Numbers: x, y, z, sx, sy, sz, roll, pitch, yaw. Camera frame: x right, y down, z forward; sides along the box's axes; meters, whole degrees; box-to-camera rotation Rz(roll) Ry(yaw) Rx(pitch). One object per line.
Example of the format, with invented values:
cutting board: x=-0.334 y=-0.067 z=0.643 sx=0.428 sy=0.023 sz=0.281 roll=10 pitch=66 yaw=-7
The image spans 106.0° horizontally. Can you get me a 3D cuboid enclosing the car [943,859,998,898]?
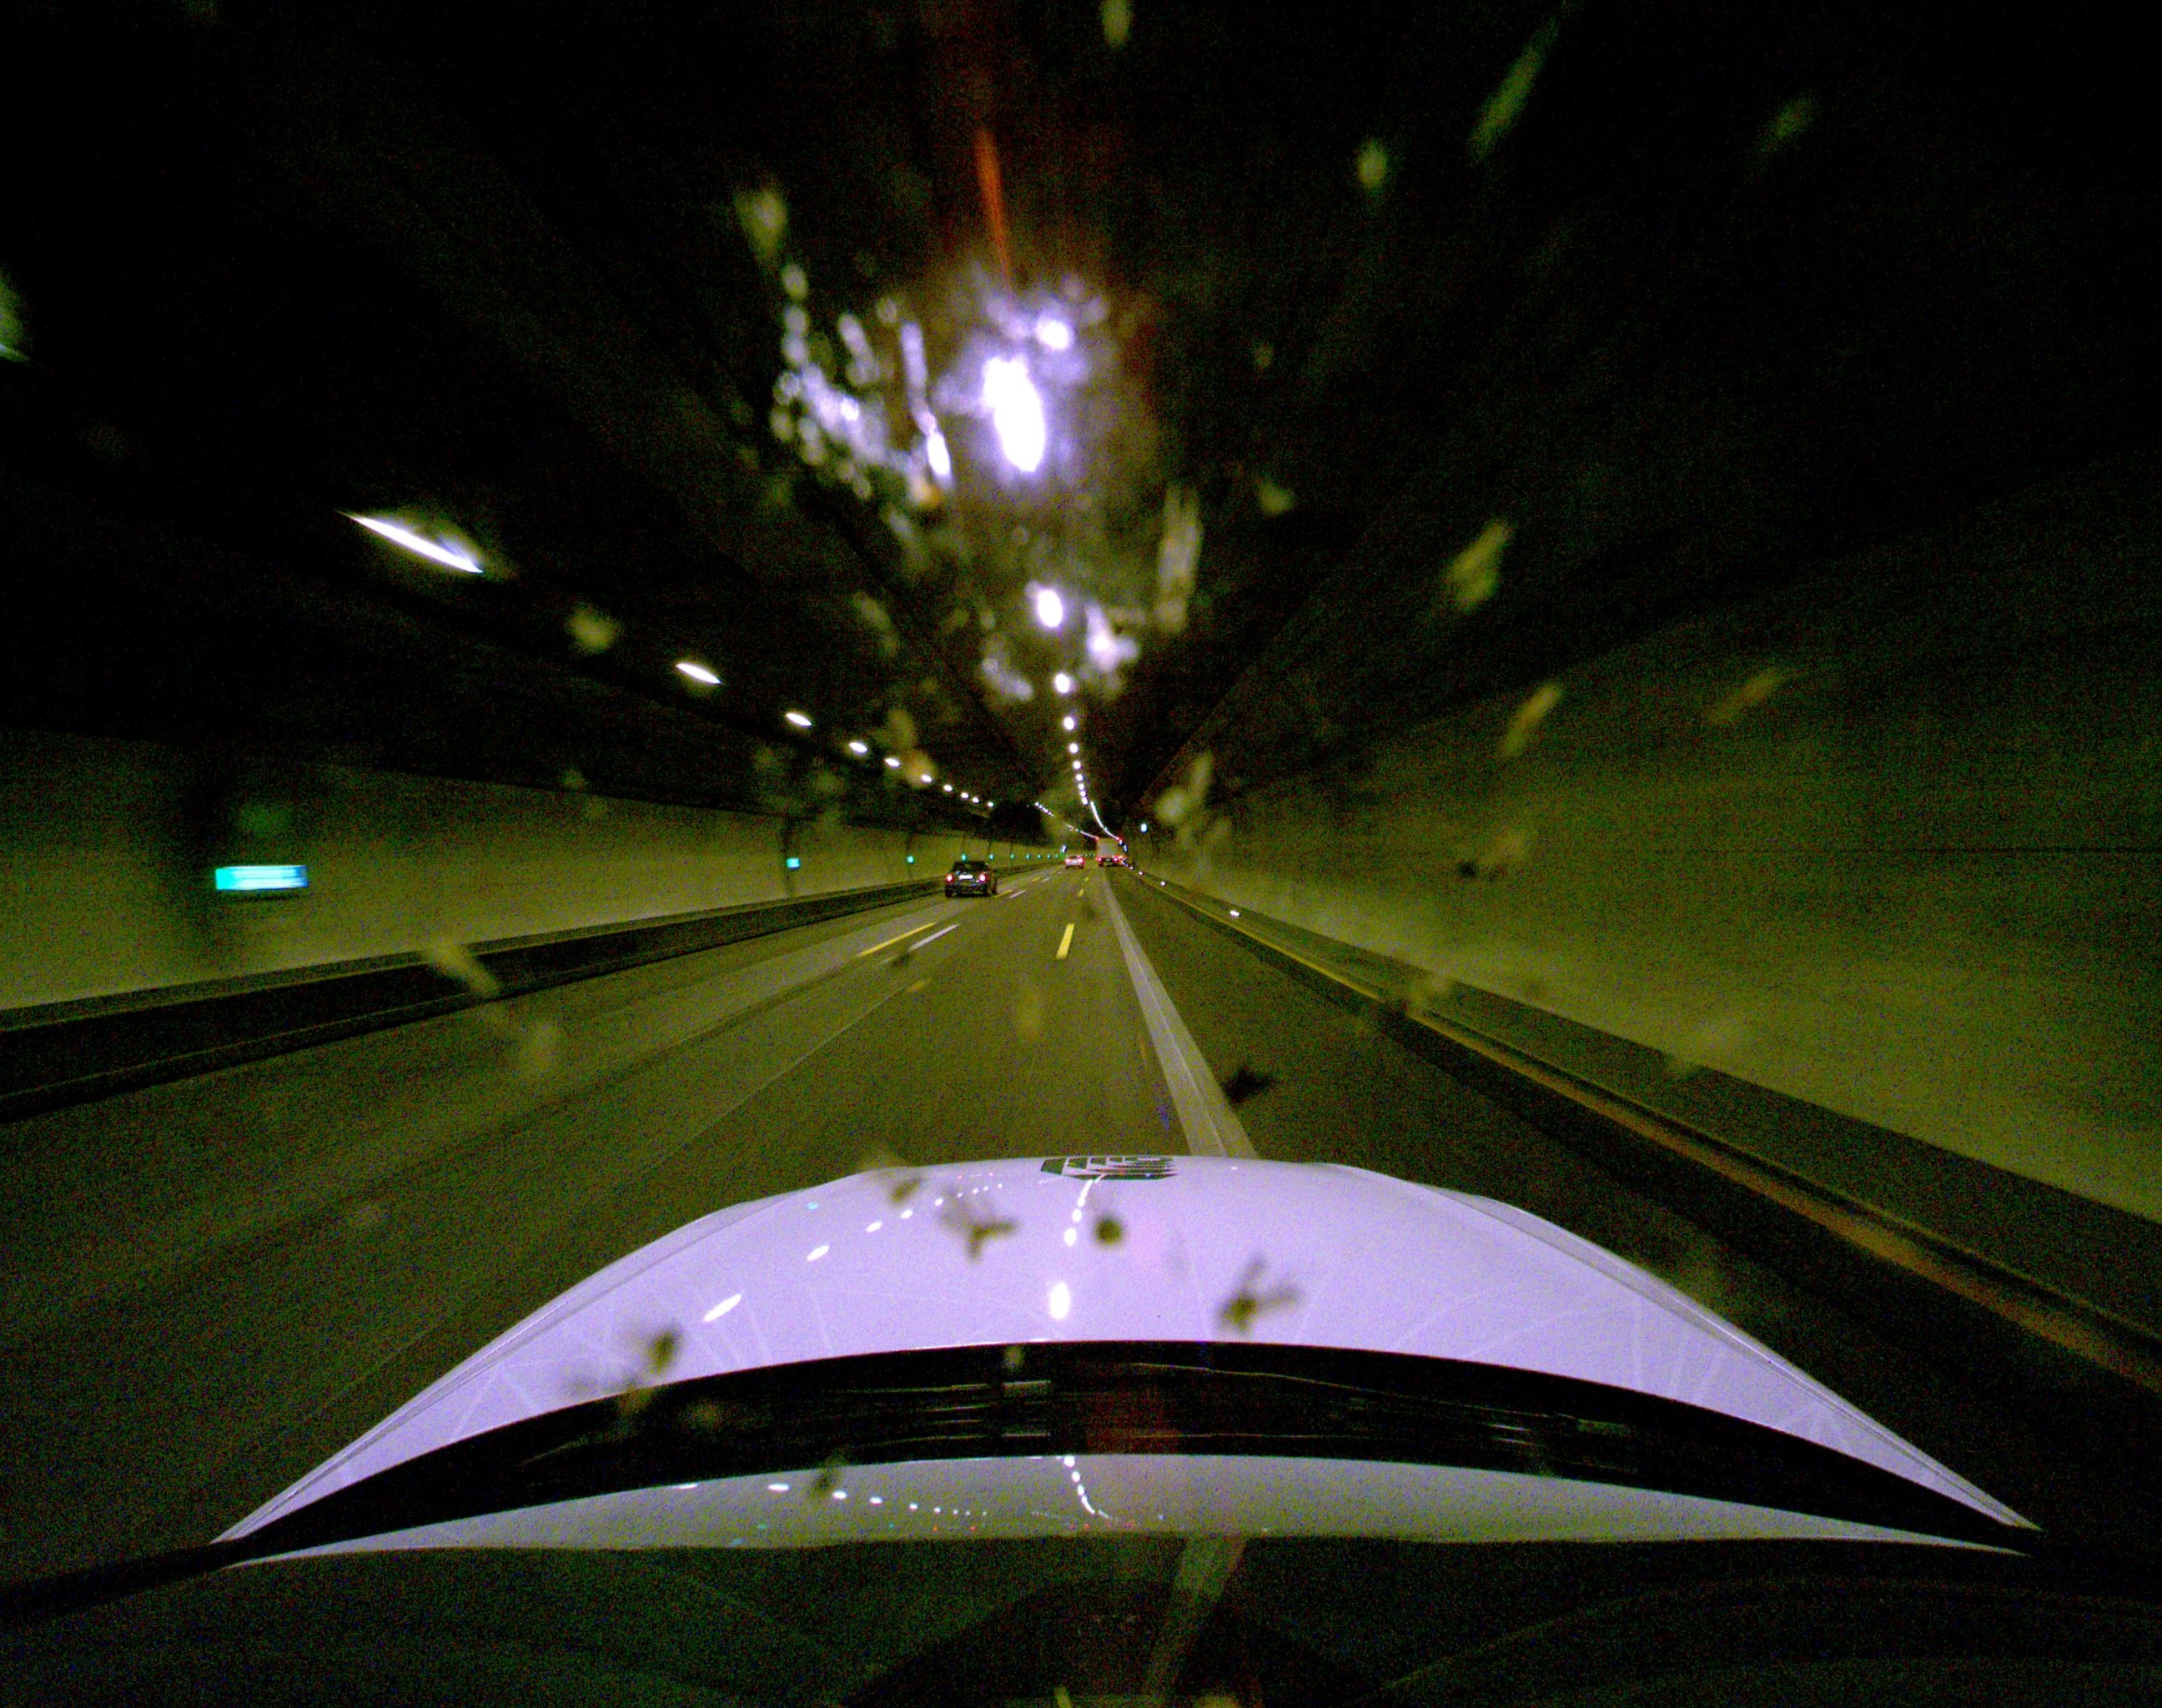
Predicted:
car: x=-4.362 y=0.924 z=32.595 sx=1.684 sy=1.417 sz=3.921 roll=-1 pitch=0 yaw=-1

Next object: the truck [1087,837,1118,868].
truck: x=2.760 y=-0.145 z=102.293 sx=3.578 sy=3.650 sz=10.728 roll=-1 pitch=0 yaw=2

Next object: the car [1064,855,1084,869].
car: x=-0.770 y=0.818 z=85.084 sx=1.988 sy=1.413 sz=4.740 roll=-1 pitch=0 yaw=-1
